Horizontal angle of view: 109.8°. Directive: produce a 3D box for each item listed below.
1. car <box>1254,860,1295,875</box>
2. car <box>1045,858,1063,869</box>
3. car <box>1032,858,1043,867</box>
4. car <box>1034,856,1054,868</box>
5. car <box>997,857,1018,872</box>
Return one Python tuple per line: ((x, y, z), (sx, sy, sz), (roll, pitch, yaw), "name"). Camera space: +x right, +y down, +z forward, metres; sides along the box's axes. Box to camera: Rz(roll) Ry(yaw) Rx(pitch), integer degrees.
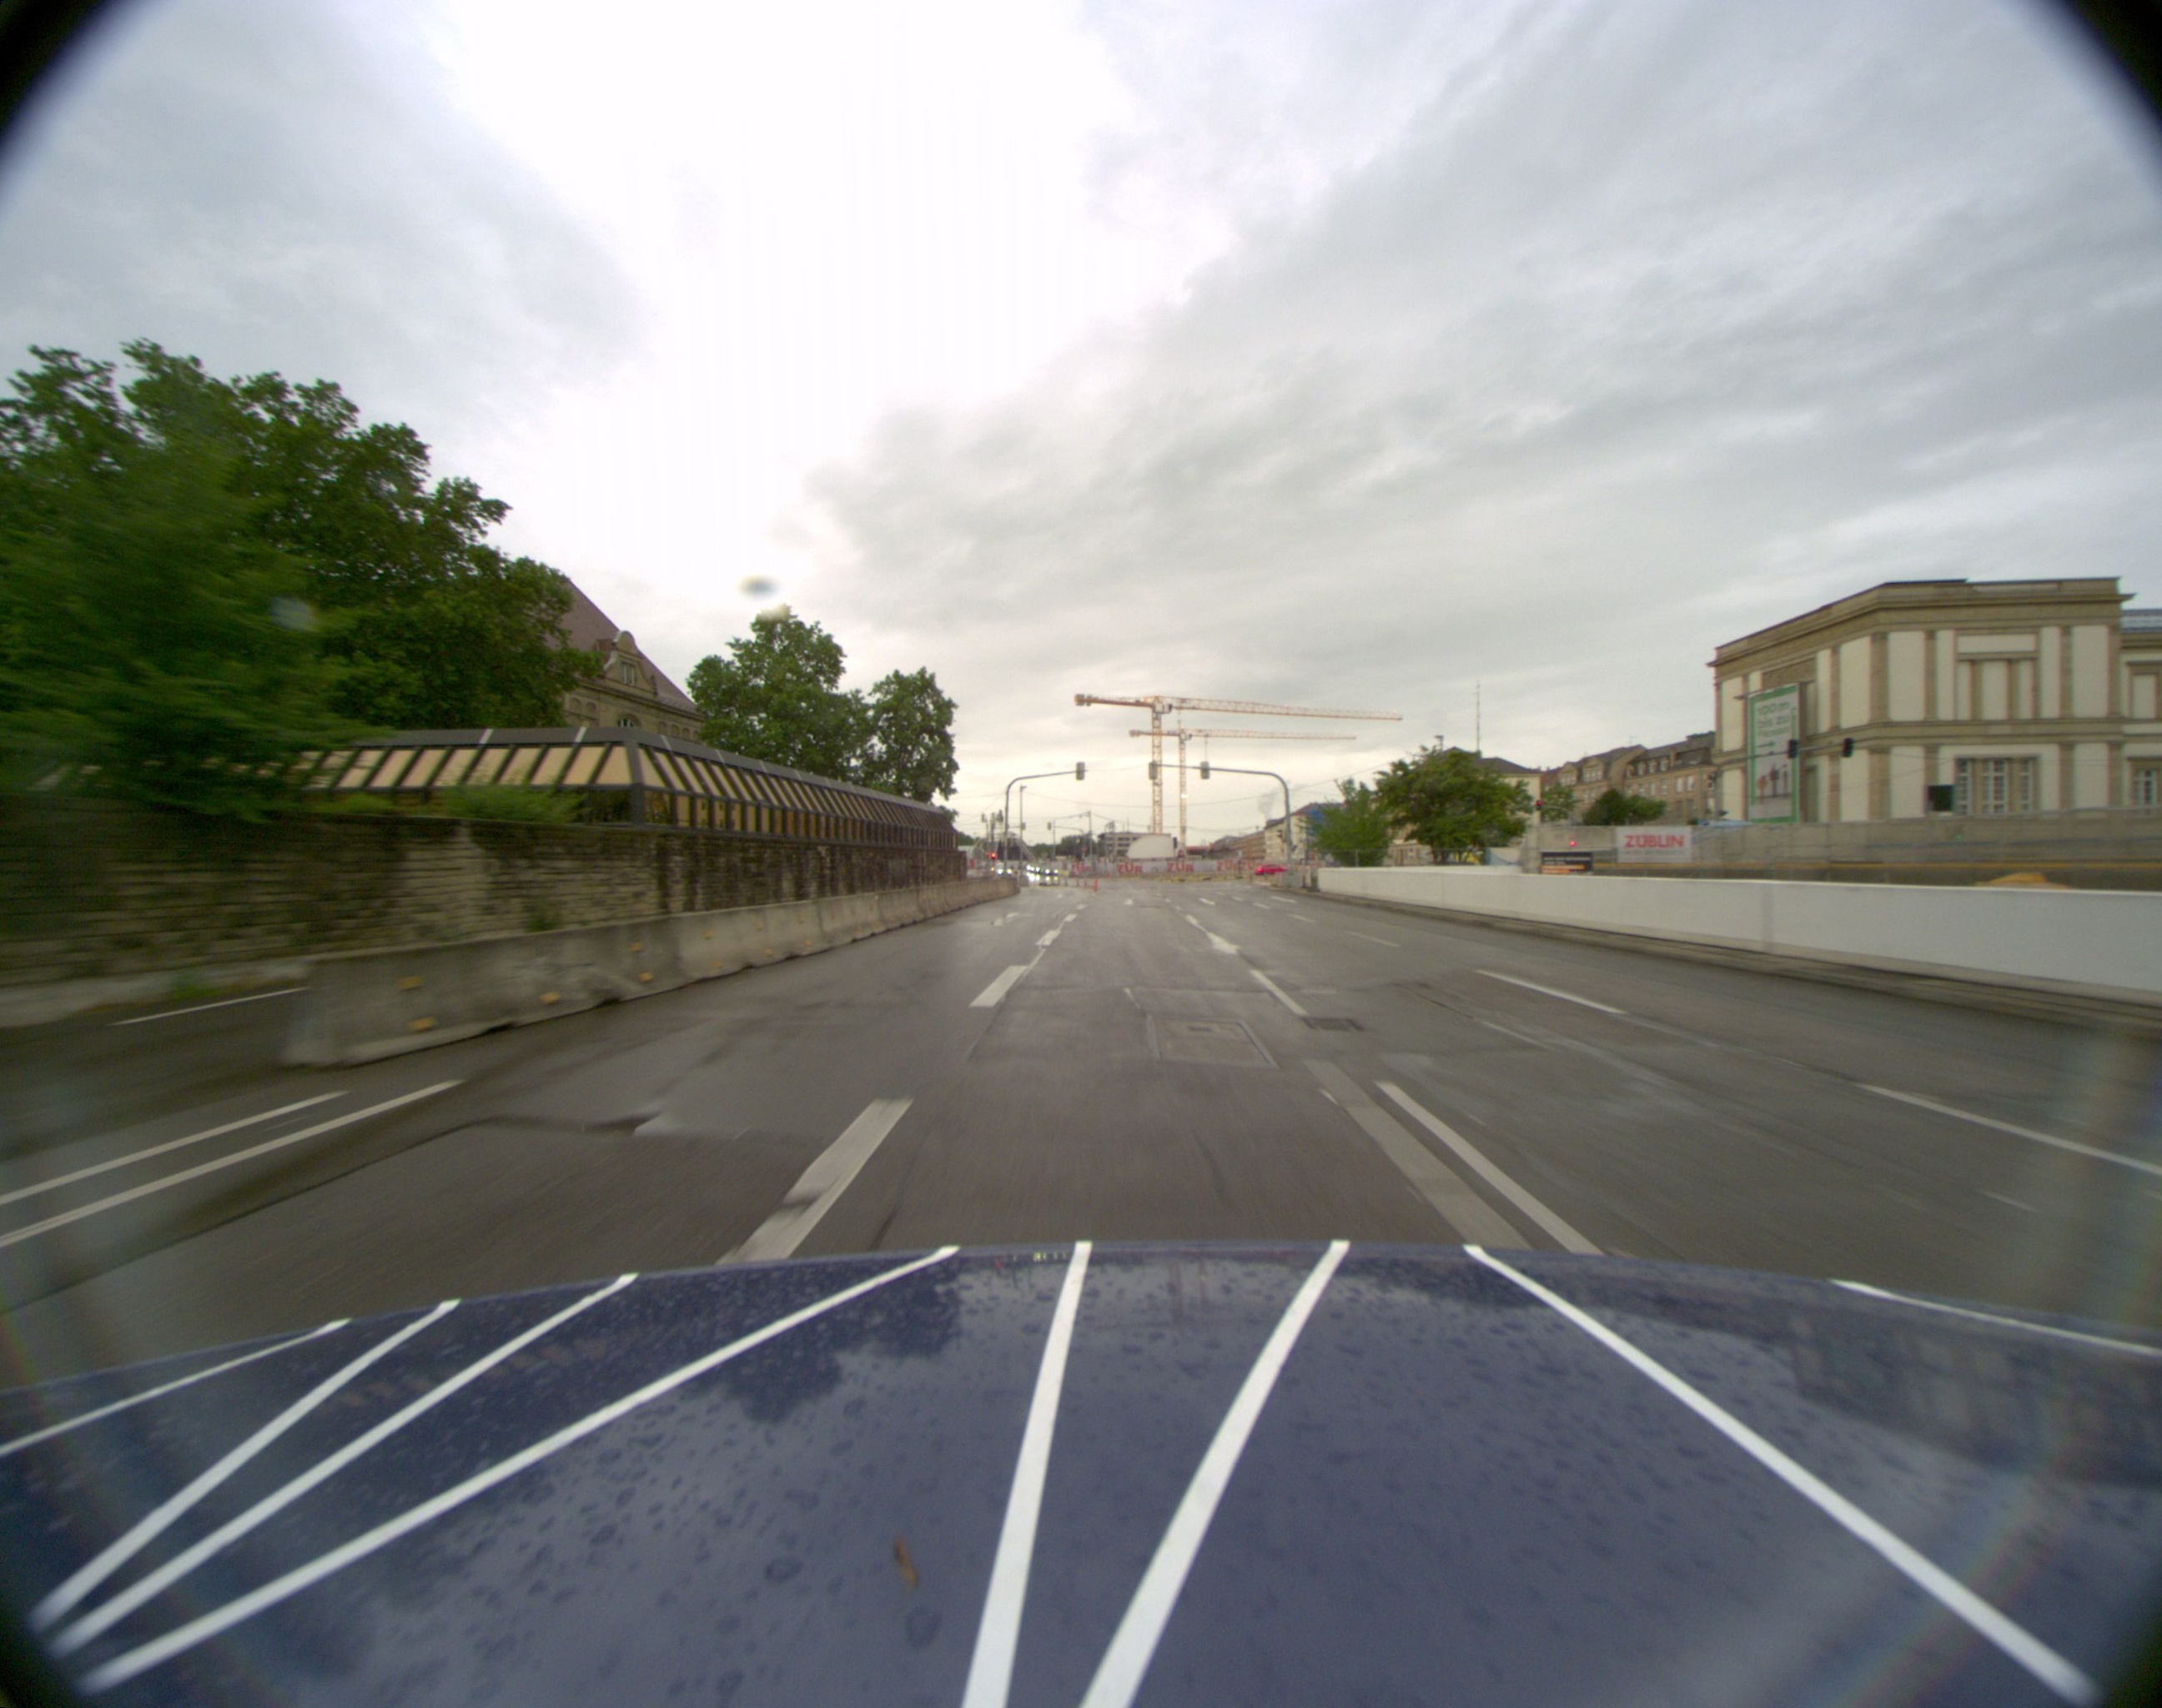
((21.415, 1.478, 84.182), (3.999, 1.543, 1.690), (-2, 0, -6), "car")
((-4.017, 1.401, 111.431), (1.862, 1.556, 3.797), (-3, 0, -13), "car")
((-7.092, 1.339, 124.158), (1.650, 1.172, 4.286), (-2, 2, -4), "car")
((-5.717, 1.253, 116.918), (2.001, 1.707, 4.417), (-2, 0, -18), "car")
((-10.689, 1.497, 109.976), (2.001, 2.002, 4.417), (-2, 0, -18), "car")
